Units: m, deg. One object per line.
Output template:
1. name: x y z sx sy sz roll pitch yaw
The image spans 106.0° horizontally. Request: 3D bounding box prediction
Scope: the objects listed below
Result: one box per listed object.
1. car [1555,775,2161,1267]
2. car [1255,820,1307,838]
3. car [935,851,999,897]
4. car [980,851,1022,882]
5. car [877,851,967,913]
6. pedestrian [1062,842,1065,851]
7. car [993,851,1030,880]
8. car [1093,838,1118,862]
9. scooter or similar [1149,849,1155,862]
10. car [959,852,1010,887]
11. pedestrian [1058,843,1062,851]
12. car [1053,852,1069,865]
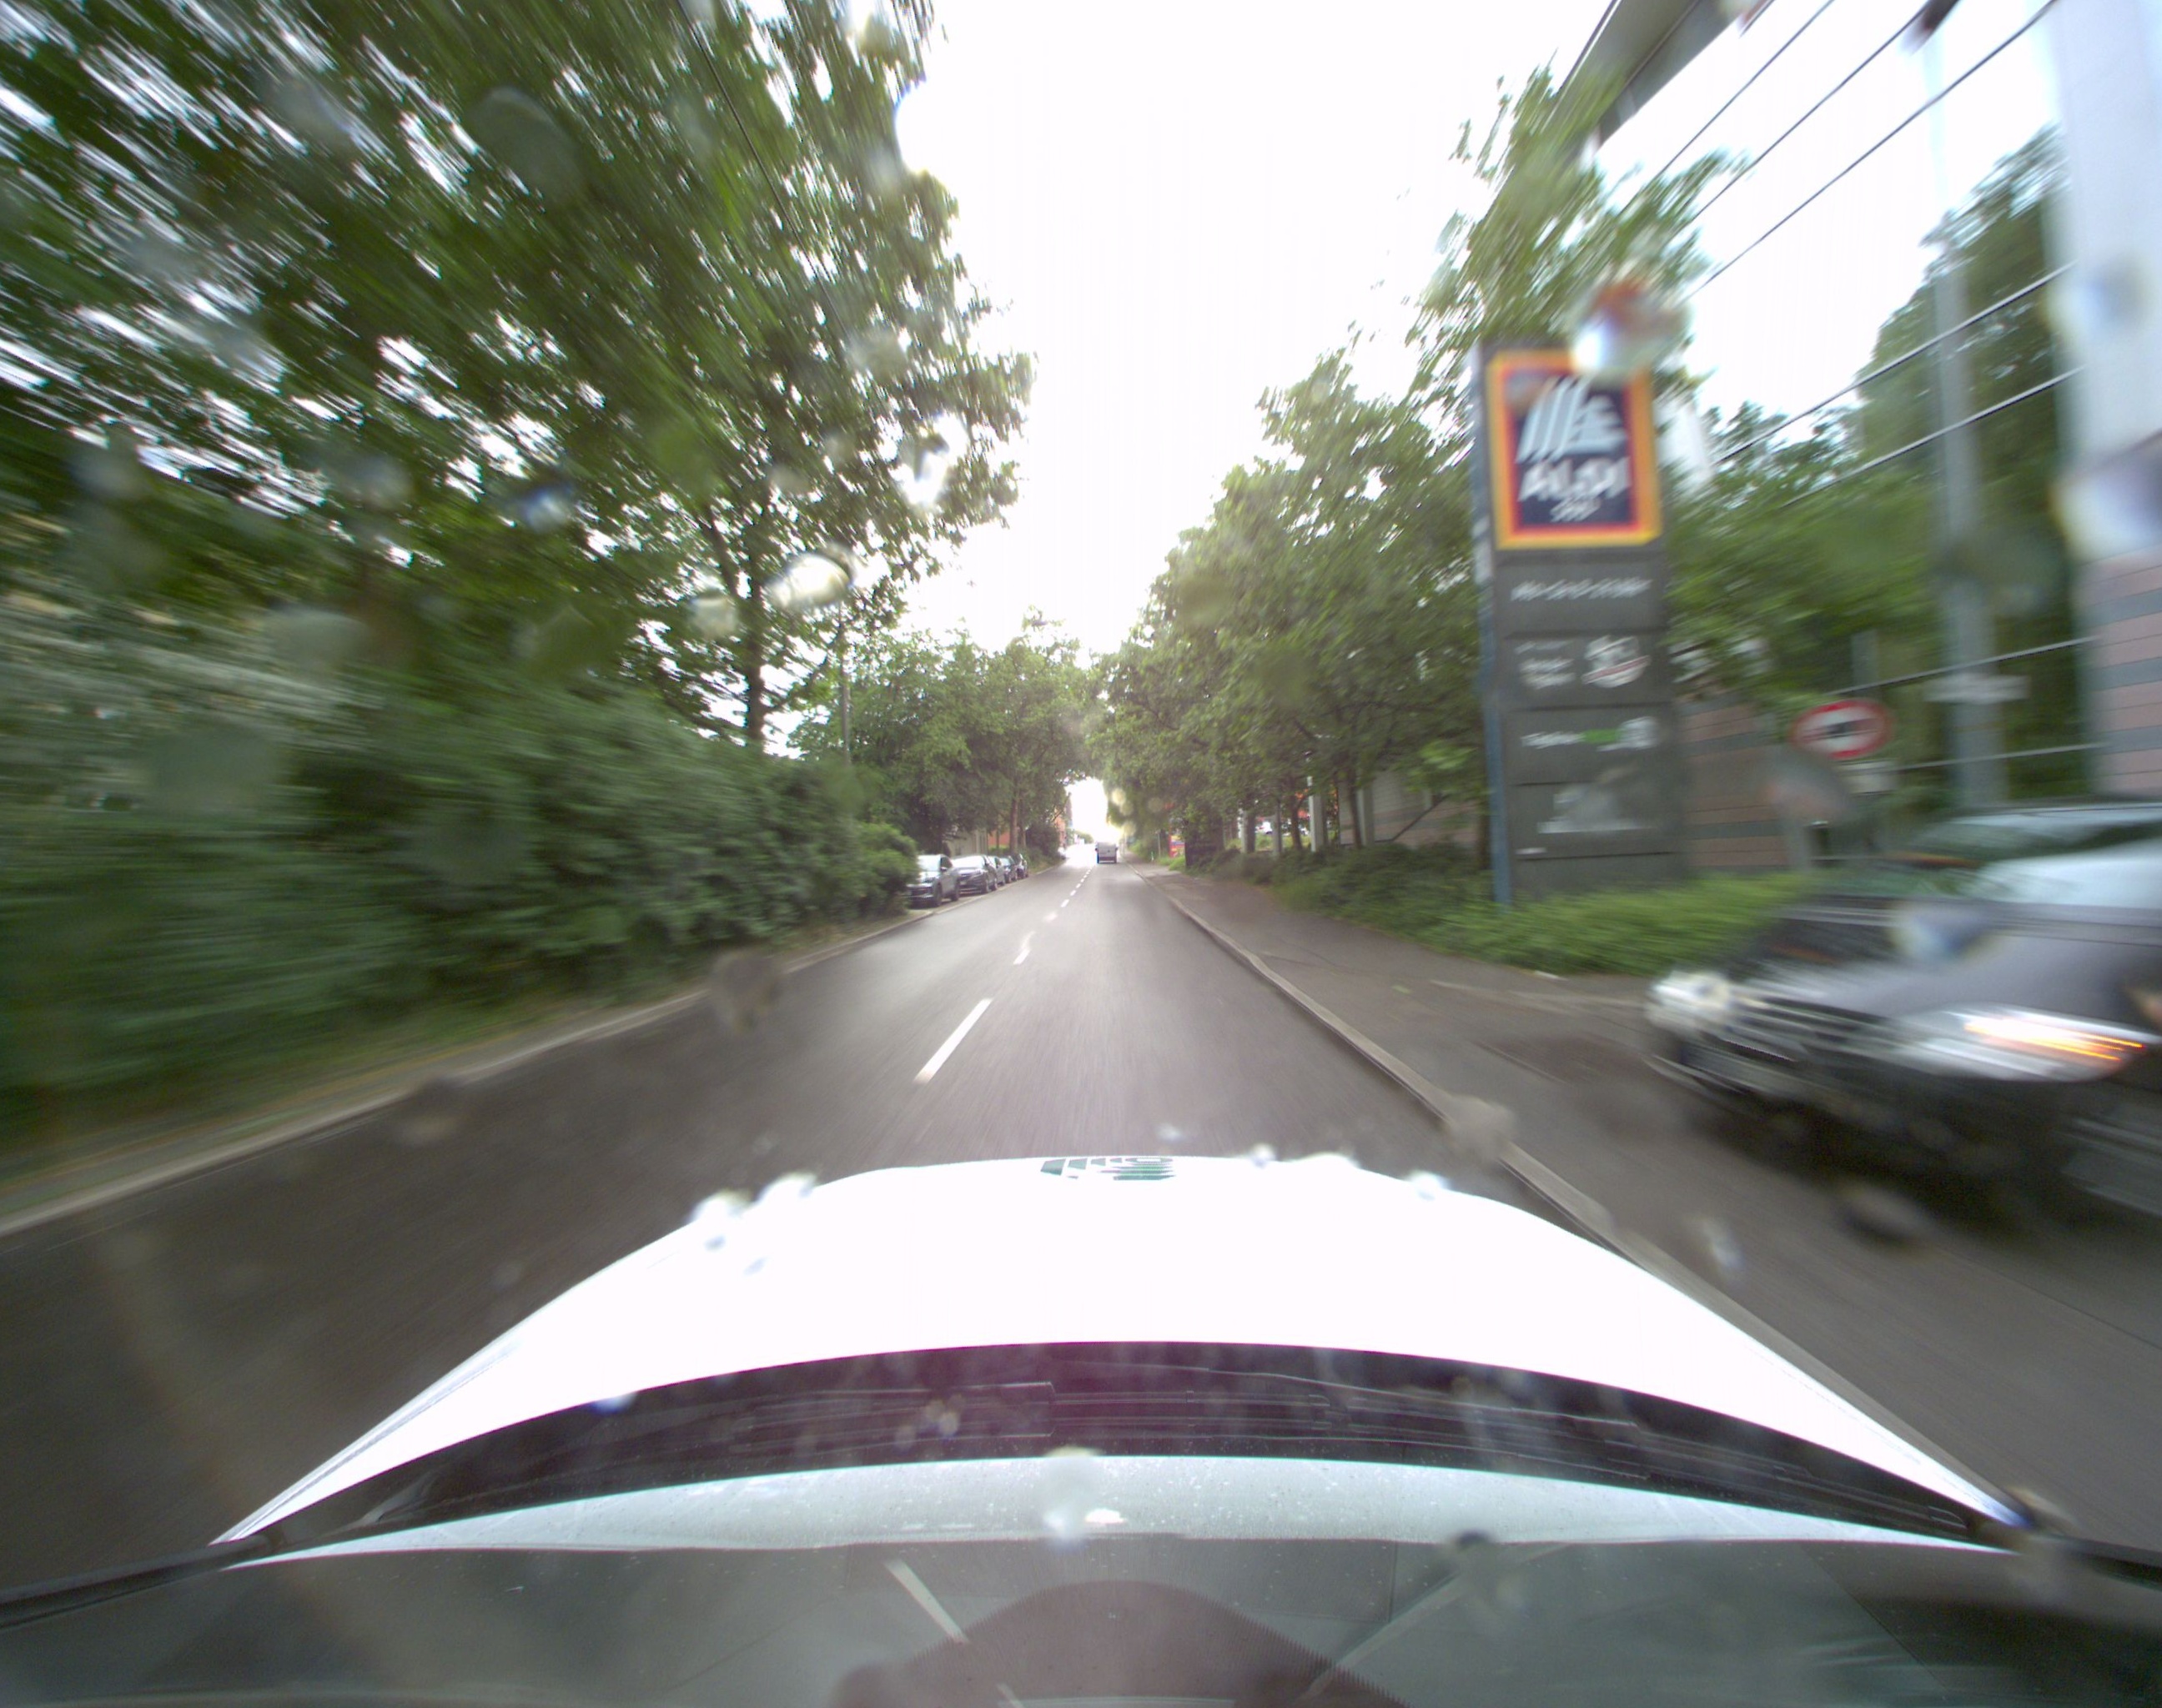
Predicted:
1. car: 4.746 0.434 3.818 3.842 1.547 2.023 -4 0 -5
2. car: 17.229 -2.157 70.285 4.085 1.376 1.904 -1 0 1
3. car: -4.512 0.759 32.892 1.859 1.591 4.239 -4 0 0
4. car: -4.211 0.639 43.265 1.665 1.508 3.876 -1 0 2
5. car: -5.179 0.850 27.109 1.727 1.657 4.568 -6 1 3
6. pedestrian: -4.176 -1.843 195.095 0.668 2.013 0.943 -2 0 6
7. car: -4.099 0.651 48.865 1.642 1.537 4.019 -6 0 1
8. car: 2.558 -0.388 83.906 2.327 2.231 4.002 -3 -1 2
9. scooter or similar: 6.437 0.147 73.921 0.424 1.142 1.528 0 -2 0
10. car: -4.472 0.701 38.300 1.665 1.508 4.127 -1 0 3
11. pedestrian: -4.968 -1.684 195.162 0.668 2.013 0.943 -2 0 6
12. car: -2.471 0.535 103.420 1.684 1.542 4.119 -3 0 2
